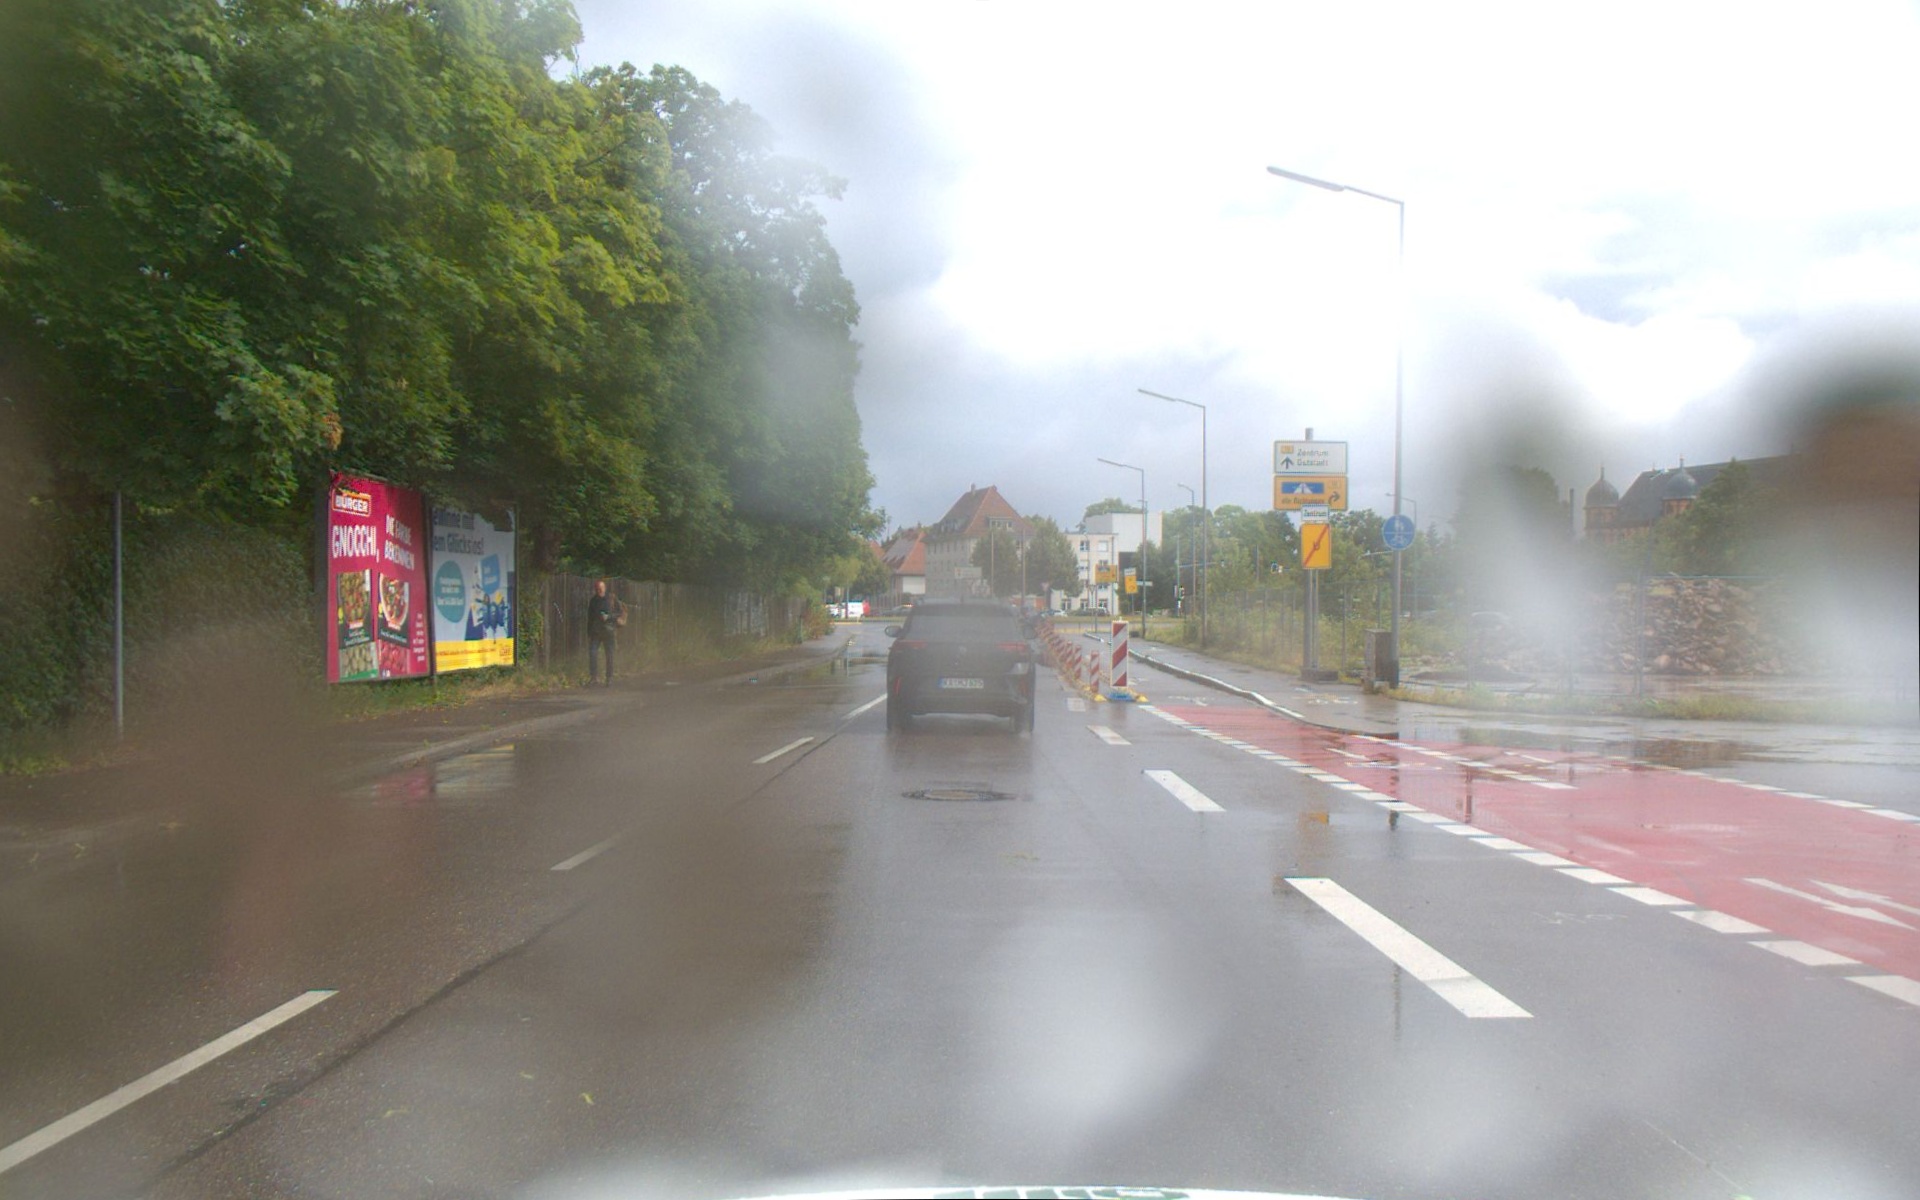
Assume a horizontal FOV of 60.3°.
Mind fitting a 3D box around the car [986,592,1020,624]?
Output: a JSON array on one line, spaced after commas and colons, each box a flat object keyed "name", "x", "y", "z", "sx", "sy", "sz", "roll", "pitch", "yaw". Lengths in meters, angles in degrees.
[{"name": "car", "x": 2.539, "y": 0.461, "z": 98.352, "sx": 1.826, "sy": 1.841, "sz": 4.403, "roll": 0, "pitch": 0, "yaw": -1}]

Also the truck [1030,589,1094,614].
[{"name": "truck", "x": 11.174, "y": 0.144, "z": 180.459, "sx": 6.918, "sy": 2.696, "sz": 2.331, "roll": 0, "pitch": 0, "yaw": 4}]

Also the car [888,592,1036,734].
[{"name": "car", "x": -0.004, "y": 0.732, "z": 20.704, "sx": 1.674, "sy": 1.601, "sz": 3.682, "roll": 1, "pitch": 0, "yaw": -1}]

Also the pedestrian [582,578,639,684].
[{"name": "pedestrian", "x": -6.044, "y": 0.529, "z": 28.618, "sx": 0.821, "sy": 1.800, "sz": 0.644, "roll": -1, "pitch": 0, "yaw": 2}]

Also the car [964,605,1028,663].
[{"name": "car", "x": 0.954, "y": 0.908, "z": 45.680, "sx": 1.700, "sy": 1.540, "sz": 3.603, "roll": 0, "pitch": 0, "yaw": 0}]

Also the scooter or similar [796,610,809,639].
[{"name": "scooter or similar", "x": -6.536, "y": 0.997, "z": 68.725, "sx": 0.551, "sy": 1.183, "sz": 1.207, "roll": 0, "pitch": 0, "yaw": -5}]
